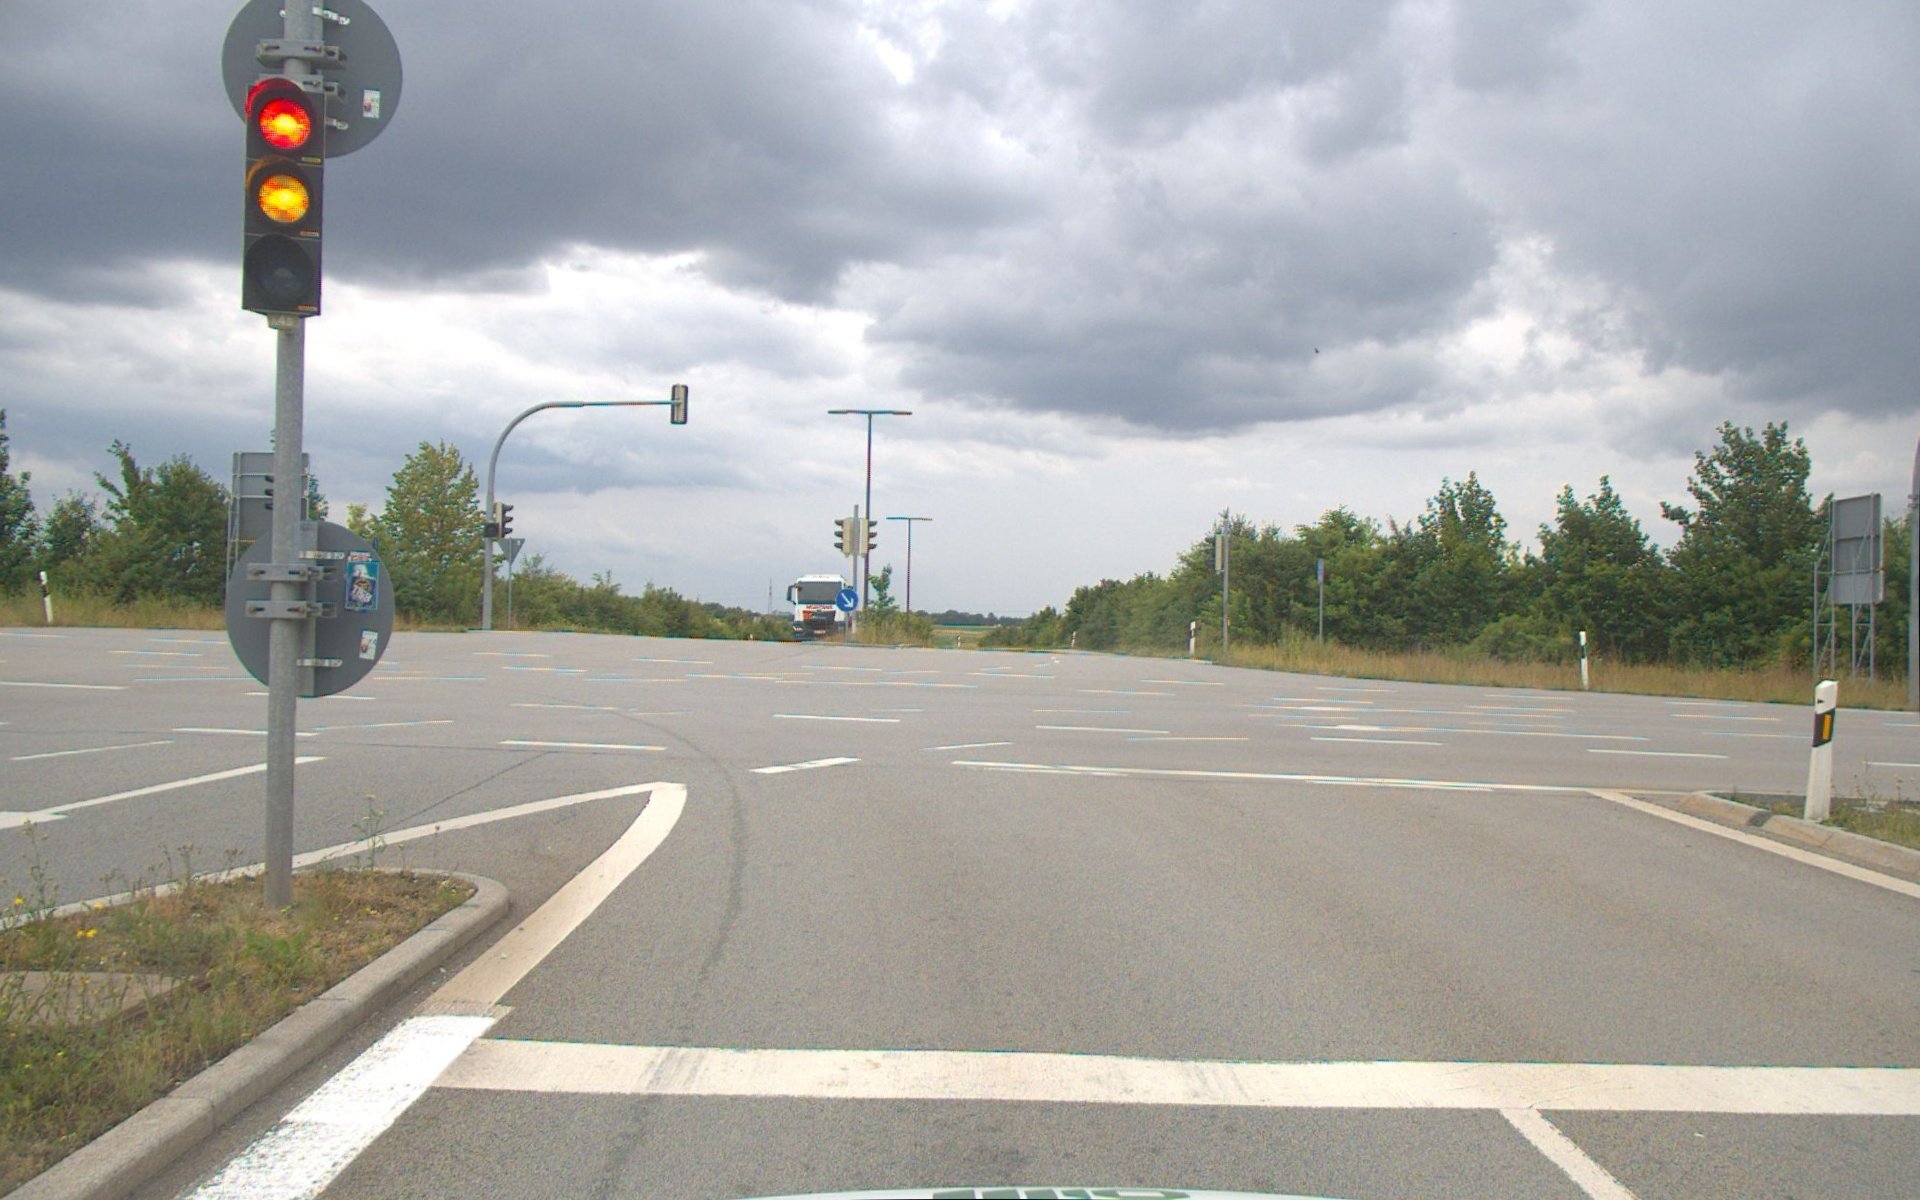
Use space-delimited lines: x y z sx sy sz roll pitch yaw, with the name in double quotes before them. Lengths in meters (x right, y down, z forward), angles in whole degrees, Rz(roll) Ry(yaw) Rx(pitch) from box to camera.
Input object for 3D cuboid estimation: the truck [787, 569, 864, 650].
"truck" -6.073 0.524 75.873 2.811 3.468 8.648 1 -1 0
